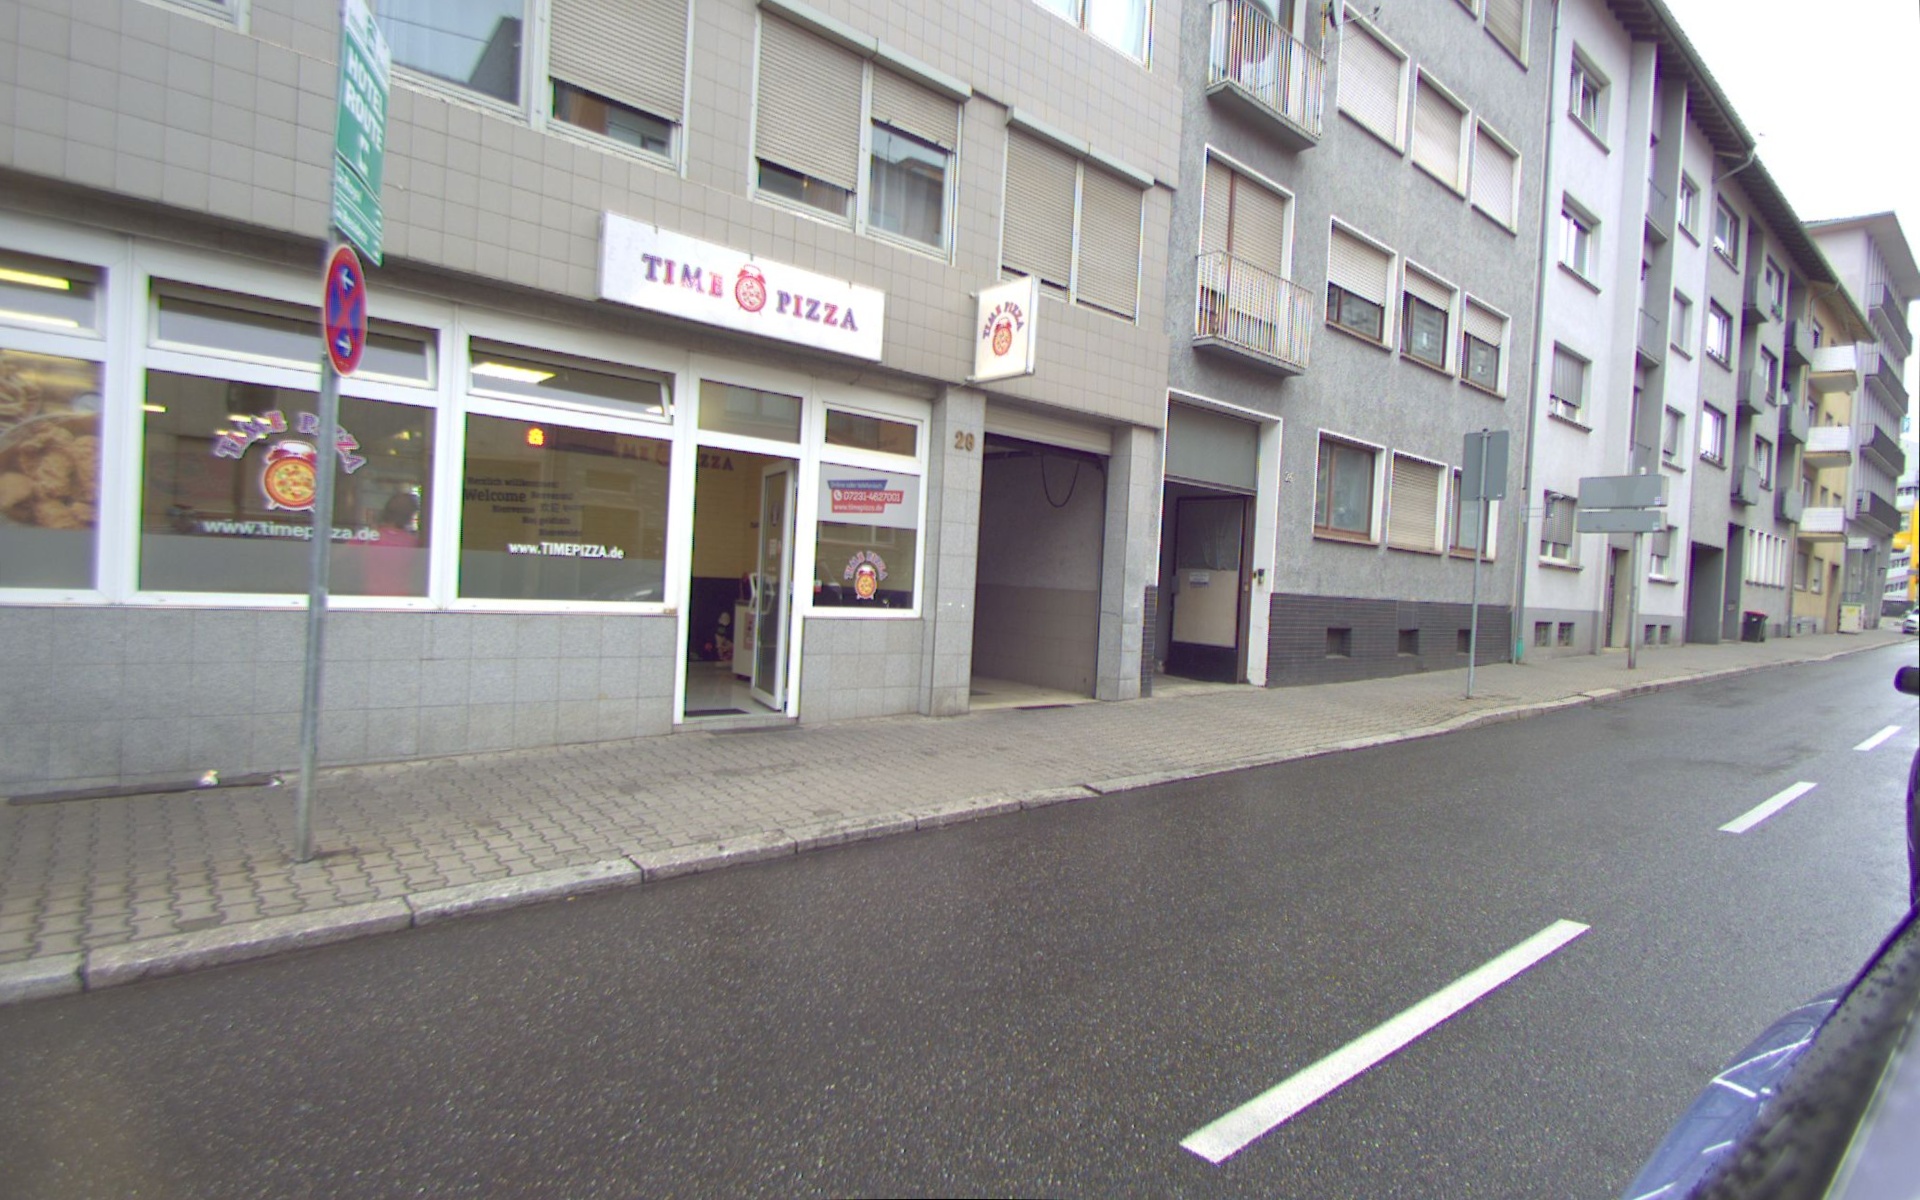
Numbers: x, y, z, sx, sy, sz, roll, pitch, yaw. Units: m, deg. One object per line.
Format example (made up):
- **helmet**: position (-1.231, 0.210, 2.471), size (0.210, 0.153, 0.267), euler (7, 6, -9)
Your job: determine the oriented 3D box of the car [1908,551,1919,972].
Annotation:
- **car**: position (6.059, 0.652, 4.921), size (4.144, 1.743, 1.697), euler (-1, 0, -41)
